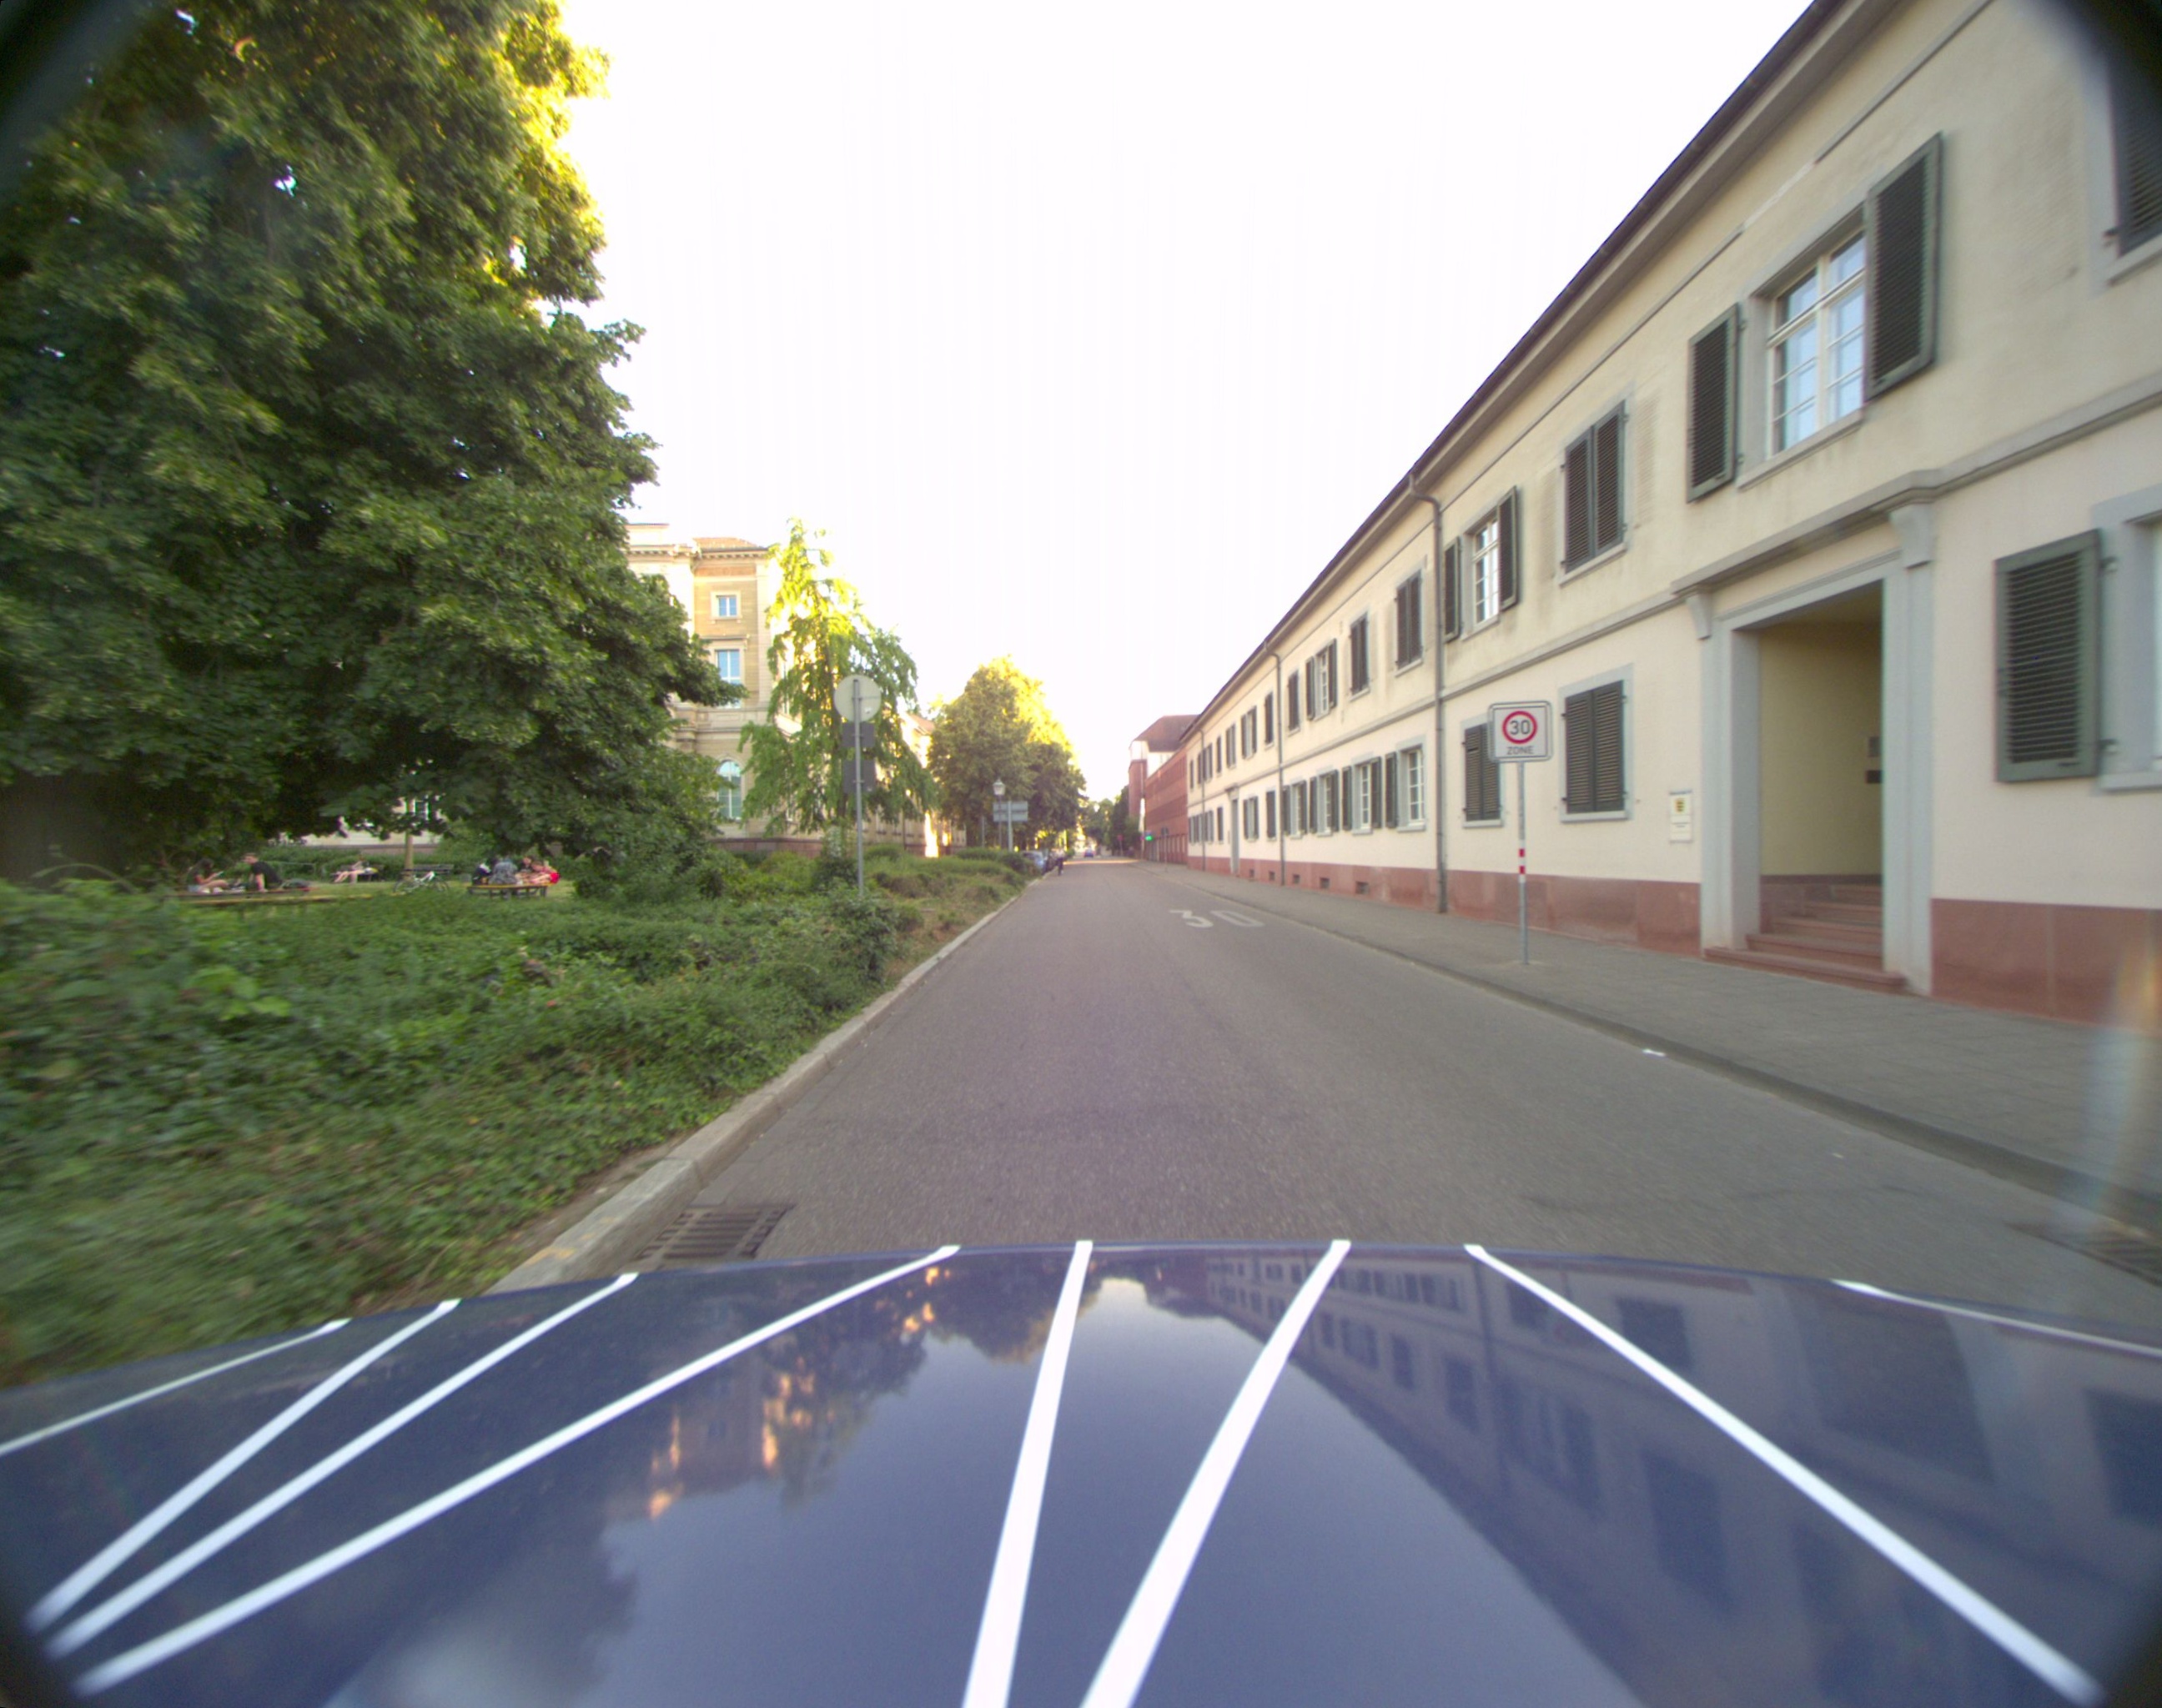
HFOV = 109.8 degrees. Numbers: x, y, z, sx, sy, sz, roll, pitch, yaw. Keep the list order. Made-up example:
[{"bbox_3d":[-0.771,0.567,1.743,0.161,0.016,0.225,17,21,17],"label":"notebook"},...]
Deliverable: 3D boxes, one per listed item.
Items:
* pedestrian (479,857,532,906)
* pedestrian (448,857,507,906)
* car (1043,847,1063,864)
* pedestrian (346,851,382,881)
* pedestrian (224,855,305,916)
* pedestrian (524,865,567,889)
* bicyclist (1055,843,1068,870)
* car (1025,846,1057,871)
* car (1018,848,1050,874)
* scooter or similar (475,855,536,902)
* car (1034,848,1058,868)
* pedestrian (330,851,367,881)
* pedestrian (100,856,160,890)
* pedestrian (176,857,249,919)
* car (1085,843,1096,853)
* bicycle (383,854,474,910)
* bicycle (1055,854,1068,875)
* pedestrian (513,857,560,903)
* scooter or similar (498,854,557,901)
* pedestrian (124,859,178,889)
[{"bbox_3d":[-14.393,0.684,19.016,0.724,1.185,0.747,0,1,4],"label":"pedestrian"},{"bbox_3d":[-15.171,0.678,19.126,0.808,1.185,0.789,0,1,4],"label":"pedestrian"},{"bbox_3d":[-2.787,0.082,75.843,1.739,1.498,4.521,3,1,0],"label":"car"},{"bbox_3d":[-33.816,0.549,35.860,0.695,1.389,1.044,0,1,1],"label":"pedestrian"},{"bbox_3d":[-18.981,0.713,17.686,0.920,1.339,0.883,-1,1,-15],"label":"pedestrian"},{"bbox_3d":[-13.924,0.582,19.796,0.542,0.546,1.375,2,0,-19],"label":"pedestrian"},{"bbox_3d":[-1.192,0.162,46.493,0.753,1.603,1.038,0,1,-2],"label":"bicyclist"},{"bbox_3d":[-2.796,0.255,53.432,1.728,1.642,4.713,0,1,3],"label":"car"},{"bbox_3d":[-2.920,0.408,47.686,1.728,1.480,4.609,3,1,-1],"label":"car"},{"bbox_3d":[-15.407,0.642,20.367,1.221,1.238,0.417,-1,1,-16],"label":"scooter or similar"},{"bbox_3d":[-2.730,0.297,59.626,1.728,1.529,4.189,0,0,0],"label":"car"},{"bbox_3d":[-34.699,0.580,36.003,0.695,1.389,1.044,0,1,1],"label":"pedestrian"},{"bbox_3d":[-44.917,0.883,35.915,0.802,1.547,1.567,0,1,1],"label":"pedestrian"},{"bbox_3d":[-19.790,0.757,17.327,0.762,1.339,0.786,-1,1,-16],"label":"pedestrian"},{"bbox_3d":[2.023,-1.235,157.823,1.999,1.863,5.108,-1,-1,-2],"label":"car"},{"bbox_3d":[-16.332,0.670,19.095,0.621,1.292,2.018,0,1,-4],"label":"bicycle"},{"bbox_3d":[-1.213,0.602,46.480,0.753,1.245,2.209,0,0,-2],"label":"bicycle"},{"bbox_3d":[-14.591,0.673,20.380,0.663,1.185,0.797,0,1,28],"label":"pedestrian"},{"bbox_3d":[-15.235,0.637,20.924,1.221,1.238,0.418,-1,1,-12],"label":"scooter or similar"},{"bbox_3d":[-43.826,0.922,35.818,0.695,1.389,1.452,0,1,1],"label":"pedestrian"}]
